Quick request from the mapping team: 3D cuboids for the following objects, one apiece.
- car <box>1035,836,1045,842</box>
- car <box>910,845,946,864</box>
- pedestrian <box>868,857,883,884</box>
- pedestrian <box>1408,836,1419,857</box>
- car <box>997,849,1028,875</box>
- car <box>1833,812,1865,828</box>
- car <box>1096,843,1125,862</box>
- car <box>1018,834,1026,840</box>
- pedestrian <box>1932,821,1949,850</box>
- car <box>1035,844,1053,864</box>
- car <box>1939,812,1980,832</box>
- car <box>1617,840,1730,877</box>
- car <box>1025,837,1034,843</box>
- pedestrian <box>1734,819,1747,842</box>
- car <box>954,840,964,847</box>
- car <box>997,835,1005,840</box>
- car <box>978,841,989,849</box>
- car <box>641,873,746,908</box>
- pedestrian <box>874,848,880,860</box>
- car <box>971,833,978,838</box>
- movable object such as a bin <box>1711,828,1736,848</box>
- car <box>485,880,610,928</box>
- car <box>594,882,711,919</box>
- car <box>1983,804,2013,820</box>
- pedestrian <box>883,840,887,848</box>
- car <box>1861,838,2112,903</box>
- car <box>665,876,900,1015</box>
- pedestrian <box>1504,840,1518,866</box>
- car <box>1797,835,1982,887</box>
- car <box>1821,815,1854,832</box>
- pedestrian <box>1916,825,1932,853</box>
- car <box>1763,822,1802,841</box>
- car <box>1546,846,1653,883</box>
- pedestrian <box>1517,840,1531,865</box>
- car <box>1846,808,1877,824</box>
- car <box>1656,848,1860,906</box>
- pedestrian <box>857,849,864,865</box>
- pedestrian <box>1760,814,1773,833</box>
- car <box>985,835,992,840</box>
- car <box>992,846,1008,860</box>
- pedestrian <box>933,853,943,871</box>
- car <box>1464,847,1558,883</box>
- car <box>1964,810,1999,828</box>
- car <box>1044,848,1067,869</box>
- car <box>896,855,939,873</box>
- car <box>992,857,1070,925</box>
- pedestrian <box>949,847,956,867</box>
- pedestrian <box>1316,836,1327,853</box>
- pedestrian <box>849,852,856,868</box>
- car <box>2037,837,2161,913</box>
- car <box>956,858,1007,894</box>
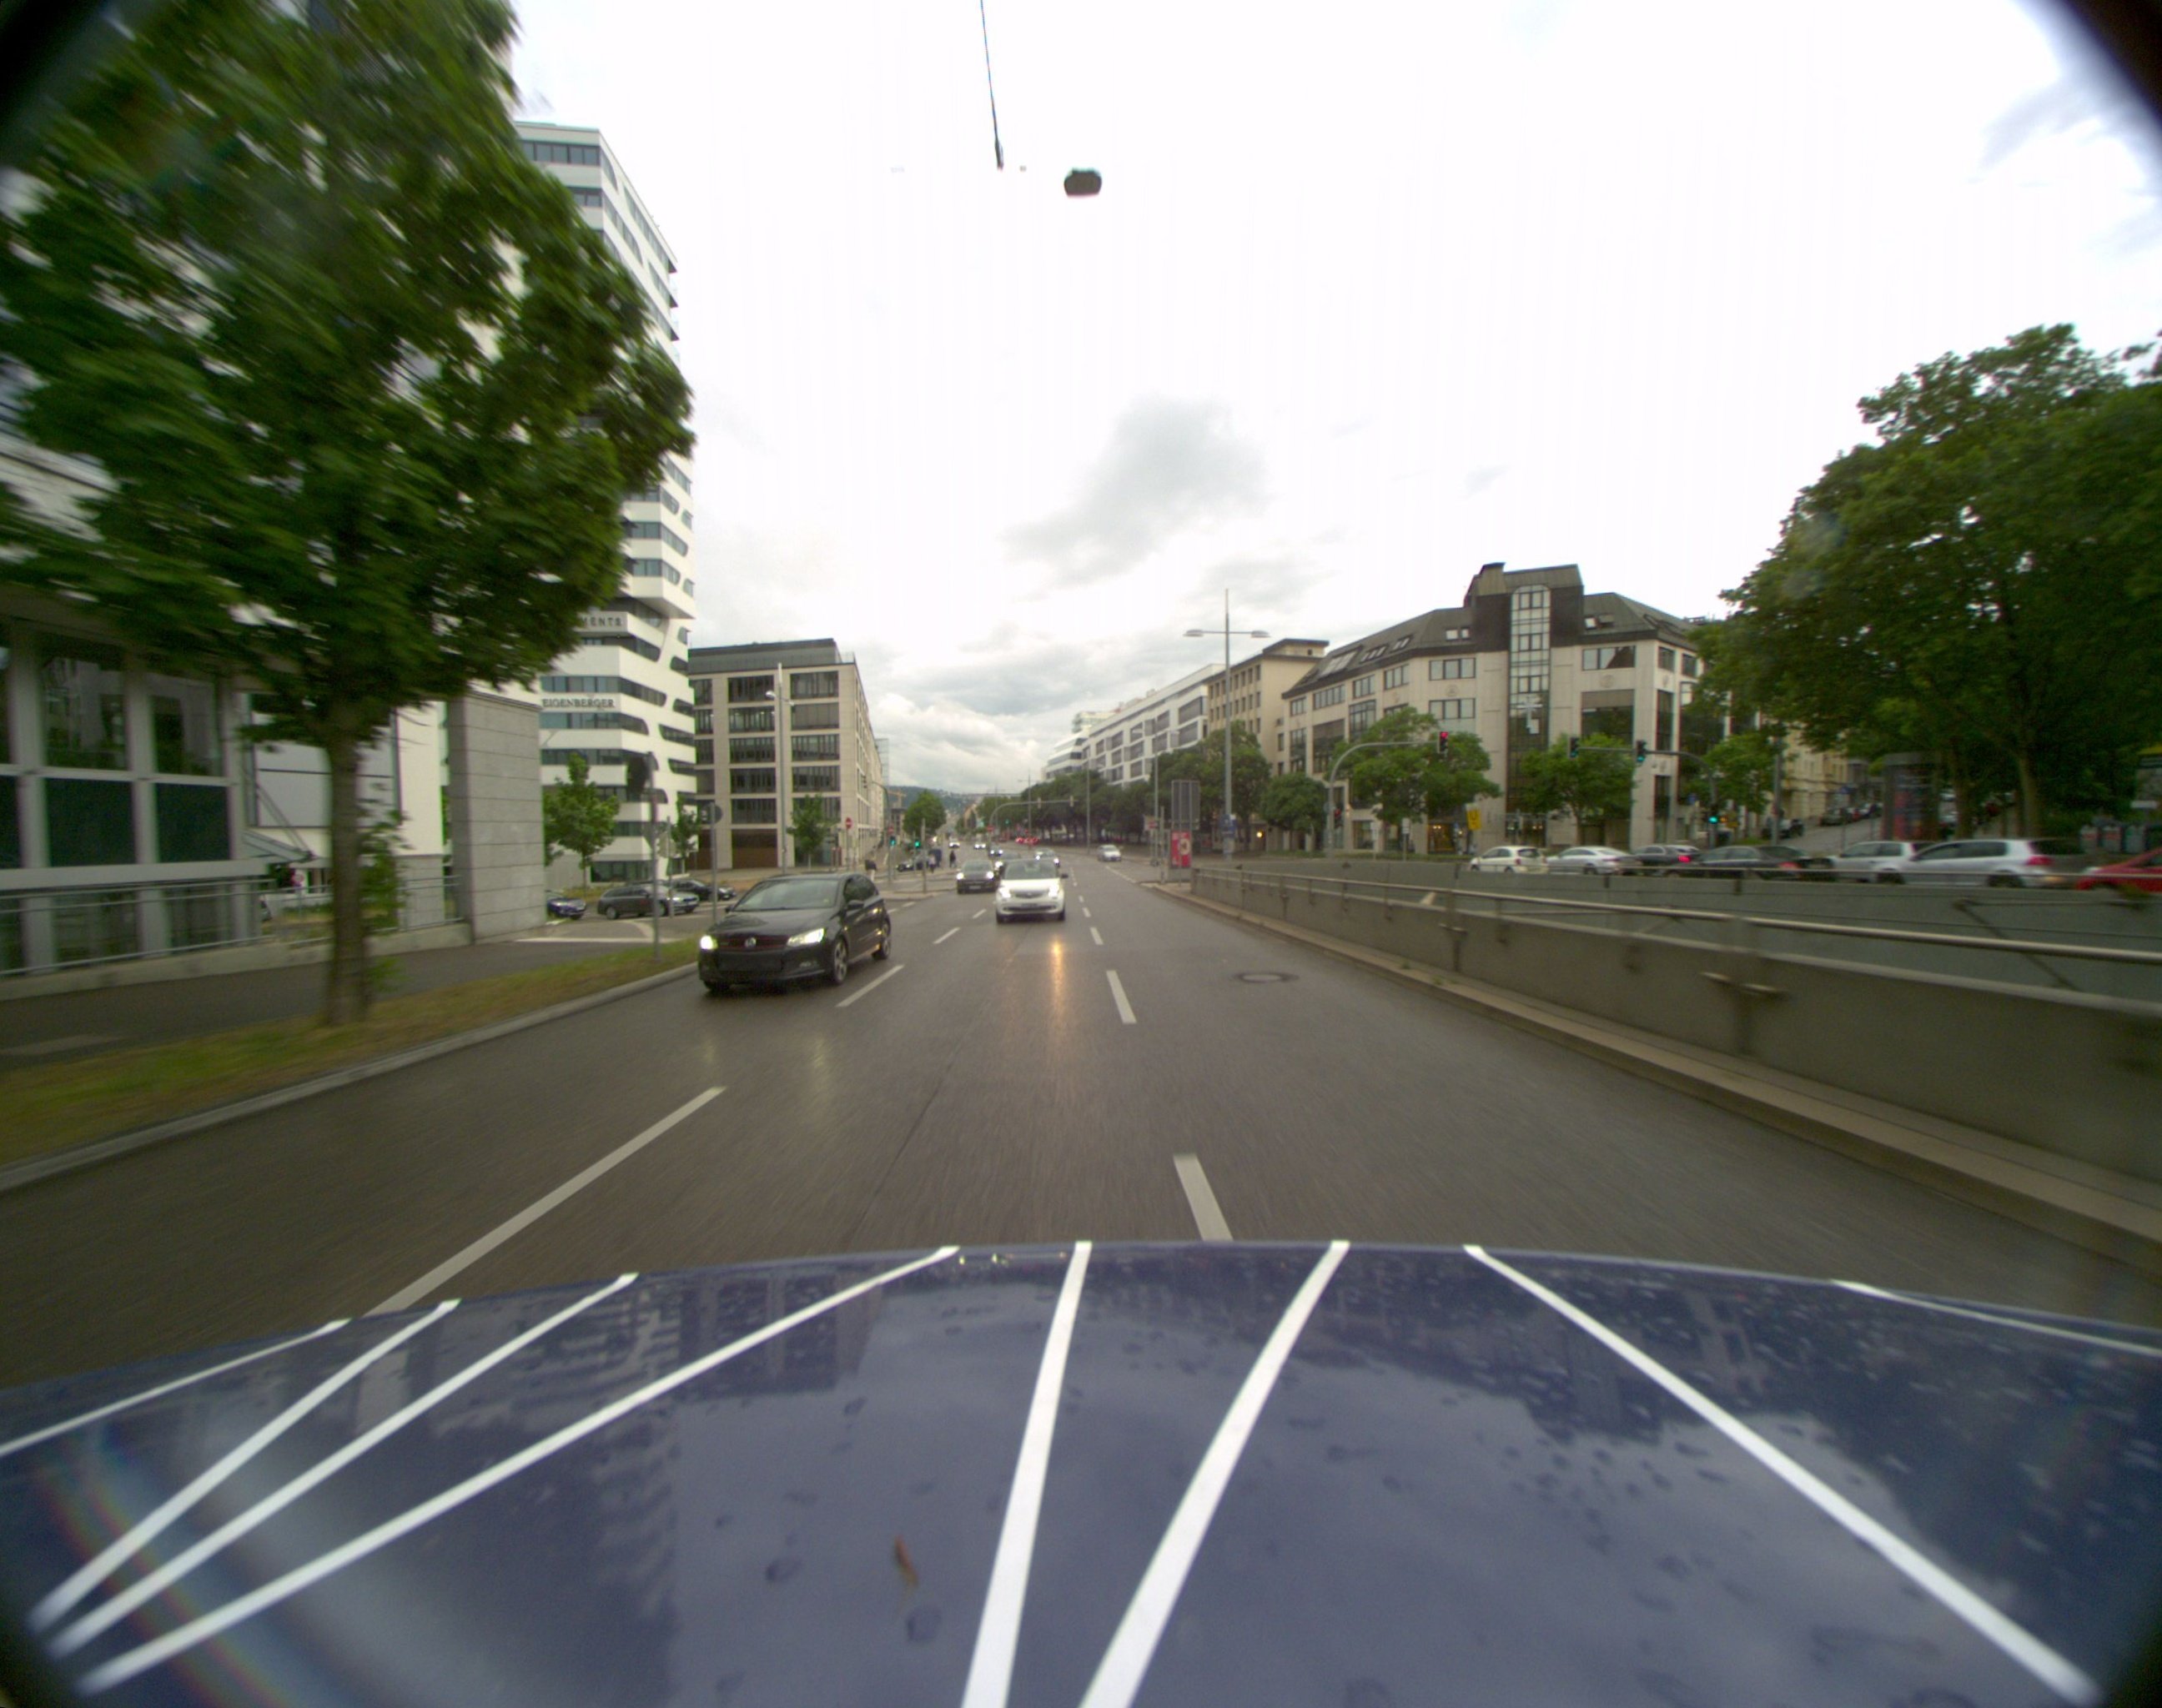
[{"bbox_3d":[-10.510,-3.829,192.551,1.801,1.502,3.995,-3,1,-13],"label":"car"},{"bbox_3d":[-15.756,0.024,78.558,1.797,1.851,4.296,-2,1,15],"label":"car"},{"bbox_3d":[-13.022,1.044,48.077,0.707,1.615,0.644,-2,2,1],"label":"pedestrian"},{"bbox_3d":[28.944,-0.675,66.120,0.604,1.774,0.525,-3,2,-8],"label":"pedestrian"},{"bbox_3d":[-4.949,0.554,55.195,1.799,1.657,3.999,-3,1,1],"label":"car"},{"bbox_3d":[80.744,-3.591,79.837,4.006,1.502,1.795,-3,1,-36],"label":"car"},{"bbox_3d":[2.957,-0.161,76.937,1.801,1.733,3.995,-3,1,-13],"label":"car"},{"bbox_3d":[-16.887,-4.787,216.891,1.801,1.502,3.995,-3,1,-13],"label":"car"},{"bbox_3d":[55.462,-1.187,49.008,0.632,1.799,0.675,-1,2,41],"label":"pedestrian"},{"bbox_3d":[-4.062,-0.017,84.433,1.799,2.021,3.999,-3,1,-1],"label":"car"},{"bbox_3d":[70.748,-2.560,61.177,3.497,1.454,1.606,-3,2,-32],"label":"car"},{"bbox_3d":[26.319,0.167,33.914,1.799,1.502,3.998,-2,1,-3],"label":"car"},{"bbox_3d":[-13.525,-3.678,199.685,1.801,1.502,3.995,-3,1,-13],"label":"car"},{"bbox_3d":[59.121,-2.084,68.099,0.748,2.002,0.754,-3,1,-36],"label":"pedestrian"},{"bbox_3d":[-26.425,-2.285,163.959,1.801,1.502,3.995,-3,1,-13],"label":"car"},{"bbox_3d":[-26.290,-5.322,249.492,1.801,1.502,3.995,-3,1,-13],"label":"car"},{"bbox_3d":[-19.670,-1.772,153.410,1.801,1.502,3.995,-3,1,-13],"label":"car"},{"bbox_3d":[-20.537,1.927,40.423,4.483,1.383,1.855,-4,2,-3],"label":"car"},{"bbox_3d":[-24.590,-0.003,91.539,0.588,1.469,0.603,-3,2,-22],"label":"pedestrian"},{"bbox_3d":[-36.291,-6.251,259.444,1.801,1.502,3.995,-3,1,-13],"label":"car"},{"bbox_3d":[50.627,-1.239,59.885,1.352,1.499,1.071,-1,1,28],"label":"movable object such as a bin"},{"bbox_3d":[-25.180,2.341,35.980,4.481,1.660,1.855,-4,6,3],"label":"car"},{"bbox_3d":[-19.181,2.067,34.072,4.477,1.382,1.858,-2,1,15],"label":"car"},{"bbox_3d":[90.852,-4.166,75.239,3.498,1.454,1.606,-3,2,-35],"label":"car"},{"bbox_3d":[-33.521,-1.701,129.704,0.588,1.469,0.603,-3,2,-14],"label":"pedestrian"},{"bbox_3d":[23.650,0.360,20.111,1.799,1.501,3.998,-1,1,-3],"label":"car"},{"bbox_3d":[-3.850,1.095,10.576,1.678,1.391,3.848,-2,1,0],"label":"car"},{"bbox_3d":[31.054,-0.082,54.859,0.590,1.799,0.674,-2,2,5],"label":"pedestrian"},{"bbox_3d":[26.651,0.232,25.253,1.799,1.501,3.942,-3,-1,-3],"label":"car"},{"bbox_3d":[76.353,-3.102,76.664,4.006,1.502,1.795,-3,1,-36],"label":"car"},{"bbox_3d":[54.892,-0.962,49.463,0.632,1.799,0.675,-1,2,41],"label":"pedestrian"},{"bbox_3d":[61.940,-1.968,67.101,4.006,1.502,1.795,-3,1,-36],"label":"car"},{"bbox_3d":[22.973,0.431,33.873,1.800,1.501,3.997,-1,1,-6],"label":"car"},{"bbox_3d":[31.858,-0.114,54.649,0.590,1.799,0.674,-2,2,5],"label":"pedestrian"},{"bbox_3d":[85.422,-4.156,83.150,4.006,1.502,1.795,-3,1,-36],"label":"car"},{"bbox_3d":[20.409,0.609,23.268,1.799,1.548,4.833,-1,1,-3],"label":"car"},{"bbox_3d":[-22.641,0.342,77.891,0.588,1.600,0.603,-3,2,-15],"label":"pedestrian"},{"bbox_3d":[63.917,-2.850,70.836,0.651,1.652,0.649,-3,2,-27],"label":"pedestrian"},{"bbox_3d":[-31.423,-5.555,258.372,1.801,1.502,3.995,-3,1,-13],"label":"car"},{"bbox_3d":[-11.836,-0.186,110.926,1.800,1.934,3.995,-3,1,-12],"label":"car"},{"bbox_3d":[-11.599,0.639,61.595,0.588,1.469,0.603,-3,2,-22],"label":"pedestrian"},{"bbox_3d":[19.740,0.460,35.085,1.800,1.552,3.997,-1,1,-6],"label":"car"},{"bbox_3d":[81.297,-3.150,68.579,3.497,1.454,1.606,-3,2,-32],"label":"car"},{"bbox_3d":[-2.184,0.352,66.684,1.799,1.657,3.999,-2,1,1],"label":"car"},{"bbox_3d":[-15.192,0.925,70.850,1.796,1.502,4.006,-2,1,25],"label":"car"},{"bbox_3d":[-1.200,0.883,19.872,1.799,1.528,3.999,-1,0,-1],"label":"car"},{"bbox_3d":[-11.836,0.276,70.065,0.604,1.792,0.587,-3,2,-9],"label":"pedestrian"},{"bbox_3d":[24.897,-1.006,78.749,0.835,1.774,0.615,-3,2,-8],"label":"pedestrian"},{"bbox_3d":[-23.433,0.647,77.954,0.588,1.600,0.603,-3,2,-15],"label":"pedestrian"},{"bbox_3d":[20.827,0.387,13.978,1.588,1.393,3.880,-1,1,0],"label":"car"},{"bbox_3d":[-4.513,0.956,34.947,1.751,1.433,3.706,-3,1,1],"label":"car"}]
